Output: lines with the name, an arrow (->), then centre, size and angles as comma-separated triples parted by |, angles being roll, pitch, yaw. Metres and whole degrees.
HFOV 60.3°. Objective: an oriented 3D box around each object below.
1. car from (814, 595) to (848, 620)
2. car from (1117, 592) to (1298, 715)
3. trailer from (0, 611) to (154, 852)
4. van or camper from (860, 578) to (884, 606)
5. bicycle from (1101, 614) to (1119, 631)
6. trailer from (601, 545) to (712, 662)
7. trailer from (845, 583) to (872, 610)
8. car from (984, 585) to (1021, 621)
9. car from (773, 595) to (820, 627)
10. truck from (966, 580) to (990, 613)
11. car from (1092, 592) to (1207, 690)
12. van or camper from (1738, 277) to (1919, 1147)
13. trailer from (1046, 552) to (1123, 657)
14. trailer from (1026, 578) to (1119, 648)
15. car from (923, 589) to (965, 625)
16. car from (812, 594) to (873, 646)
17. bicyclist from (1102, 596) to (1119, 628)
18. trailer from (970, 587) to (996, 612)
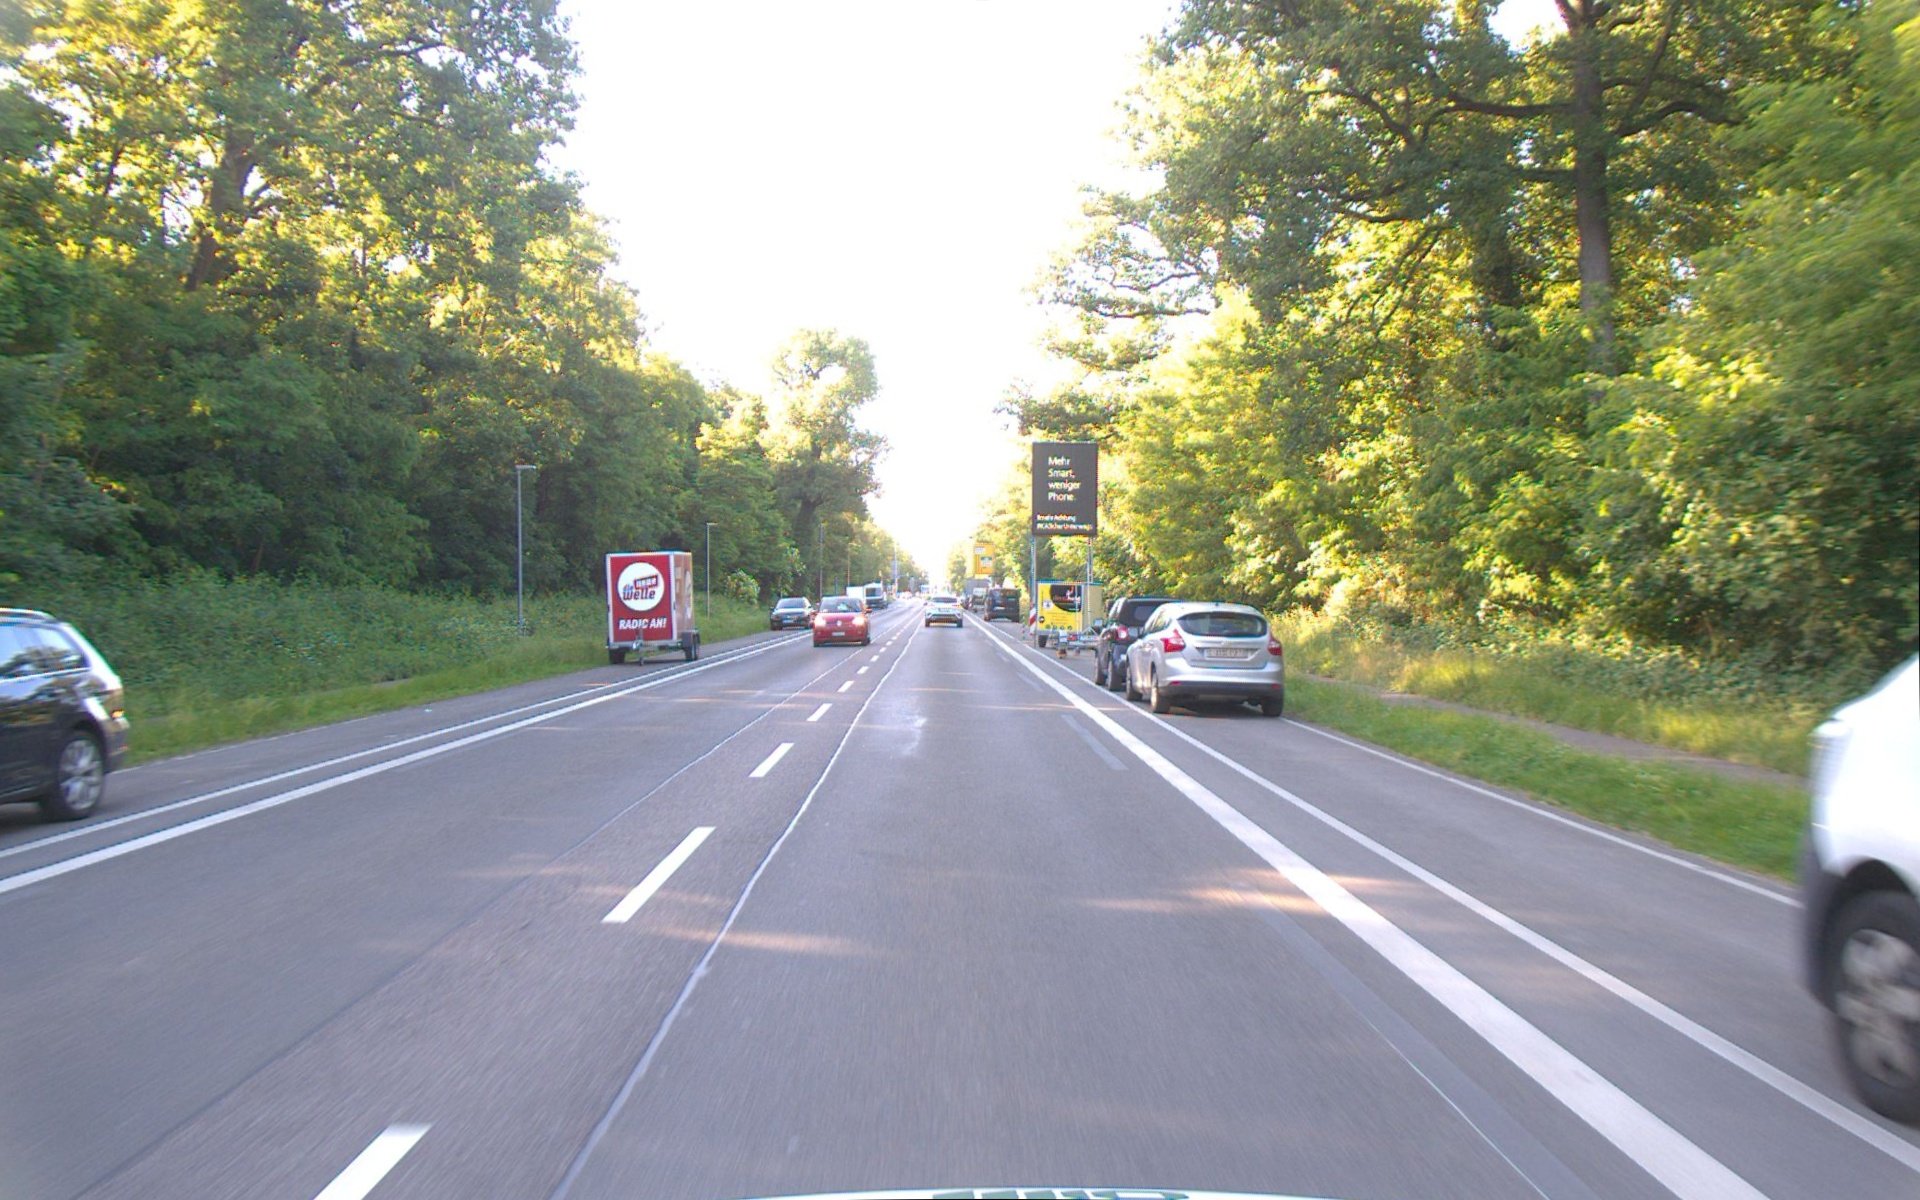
car -> -8.244, 0.471, 105.725 | 1.829, 1.476, 4.070 | -3, 0, -1
car -> 3.371, 0.677, 23.315 | 1.700, 1.513, 4.399 | 2, 0, -2
trailer -> -6.961, 0.844, 10.229 | 1.803, 1.492, 4.465 | 0, 0, -1
van or camper -> -9.424, -0.877, 177.668 | 2.255, 2.816, 5.556 | -2, 0, -1
bicycle -> 6.365, 0.949, 70.164 | 0.579, 0.704, 1.996 | 1, 0, -1
trailer -> -7.237, 0.068, 39.826 | 1.953, 2.667, 4.085 | 0, 0, -1
trailer -> -8.980, -0.292, 146.301 | 2.032, 2.333, 3.487 | -1, 0, 1
car -> 2.549, 0.167, 100.572 | 2.070, 2.049, 5.039 | 2, 0, 0
car -> -7.731, 0.508, 78.548 | 1.817, 1.490, 4.783 | 0, 0, -1
truck -> 1.887, -0.374, 174.790 | 2.454, 3.425, 7.106 | 1, 0, 0
car -> 3.196, 0.658, 28.321 | 1.554, 1.557, 3.010 | 2, 0, -1
van or camper -> 3.822, 0.336, 2.787 | 2.082, 2.526, 6.305 | 0, 0, 0
trailer -> 3.170, 0.124, 42.690 | 1.581, 2.552, 3.999 | 1, 0, -1
trailer -> 3.513, 0.363, 51.078 | 1.921, 2.058, 3.845 | 0, 0, 19
car -> -0.758, 0.302, 79.121 | 1.953, 1.668, 3.999 | 0, 0, -1
car -> -3.475, 0.561, 49.286 | 1.571, 1.445, 3.518 | -1, 0, -1
bicyclist -> 6.381, 0.504, 70.165 | 0.598, 1.347, 1.175 | 1, 0, -1
trailer -> 2.013, -0.049, 144.796 | 1.581, 2.149, 2.397 | 1, 0, 20
